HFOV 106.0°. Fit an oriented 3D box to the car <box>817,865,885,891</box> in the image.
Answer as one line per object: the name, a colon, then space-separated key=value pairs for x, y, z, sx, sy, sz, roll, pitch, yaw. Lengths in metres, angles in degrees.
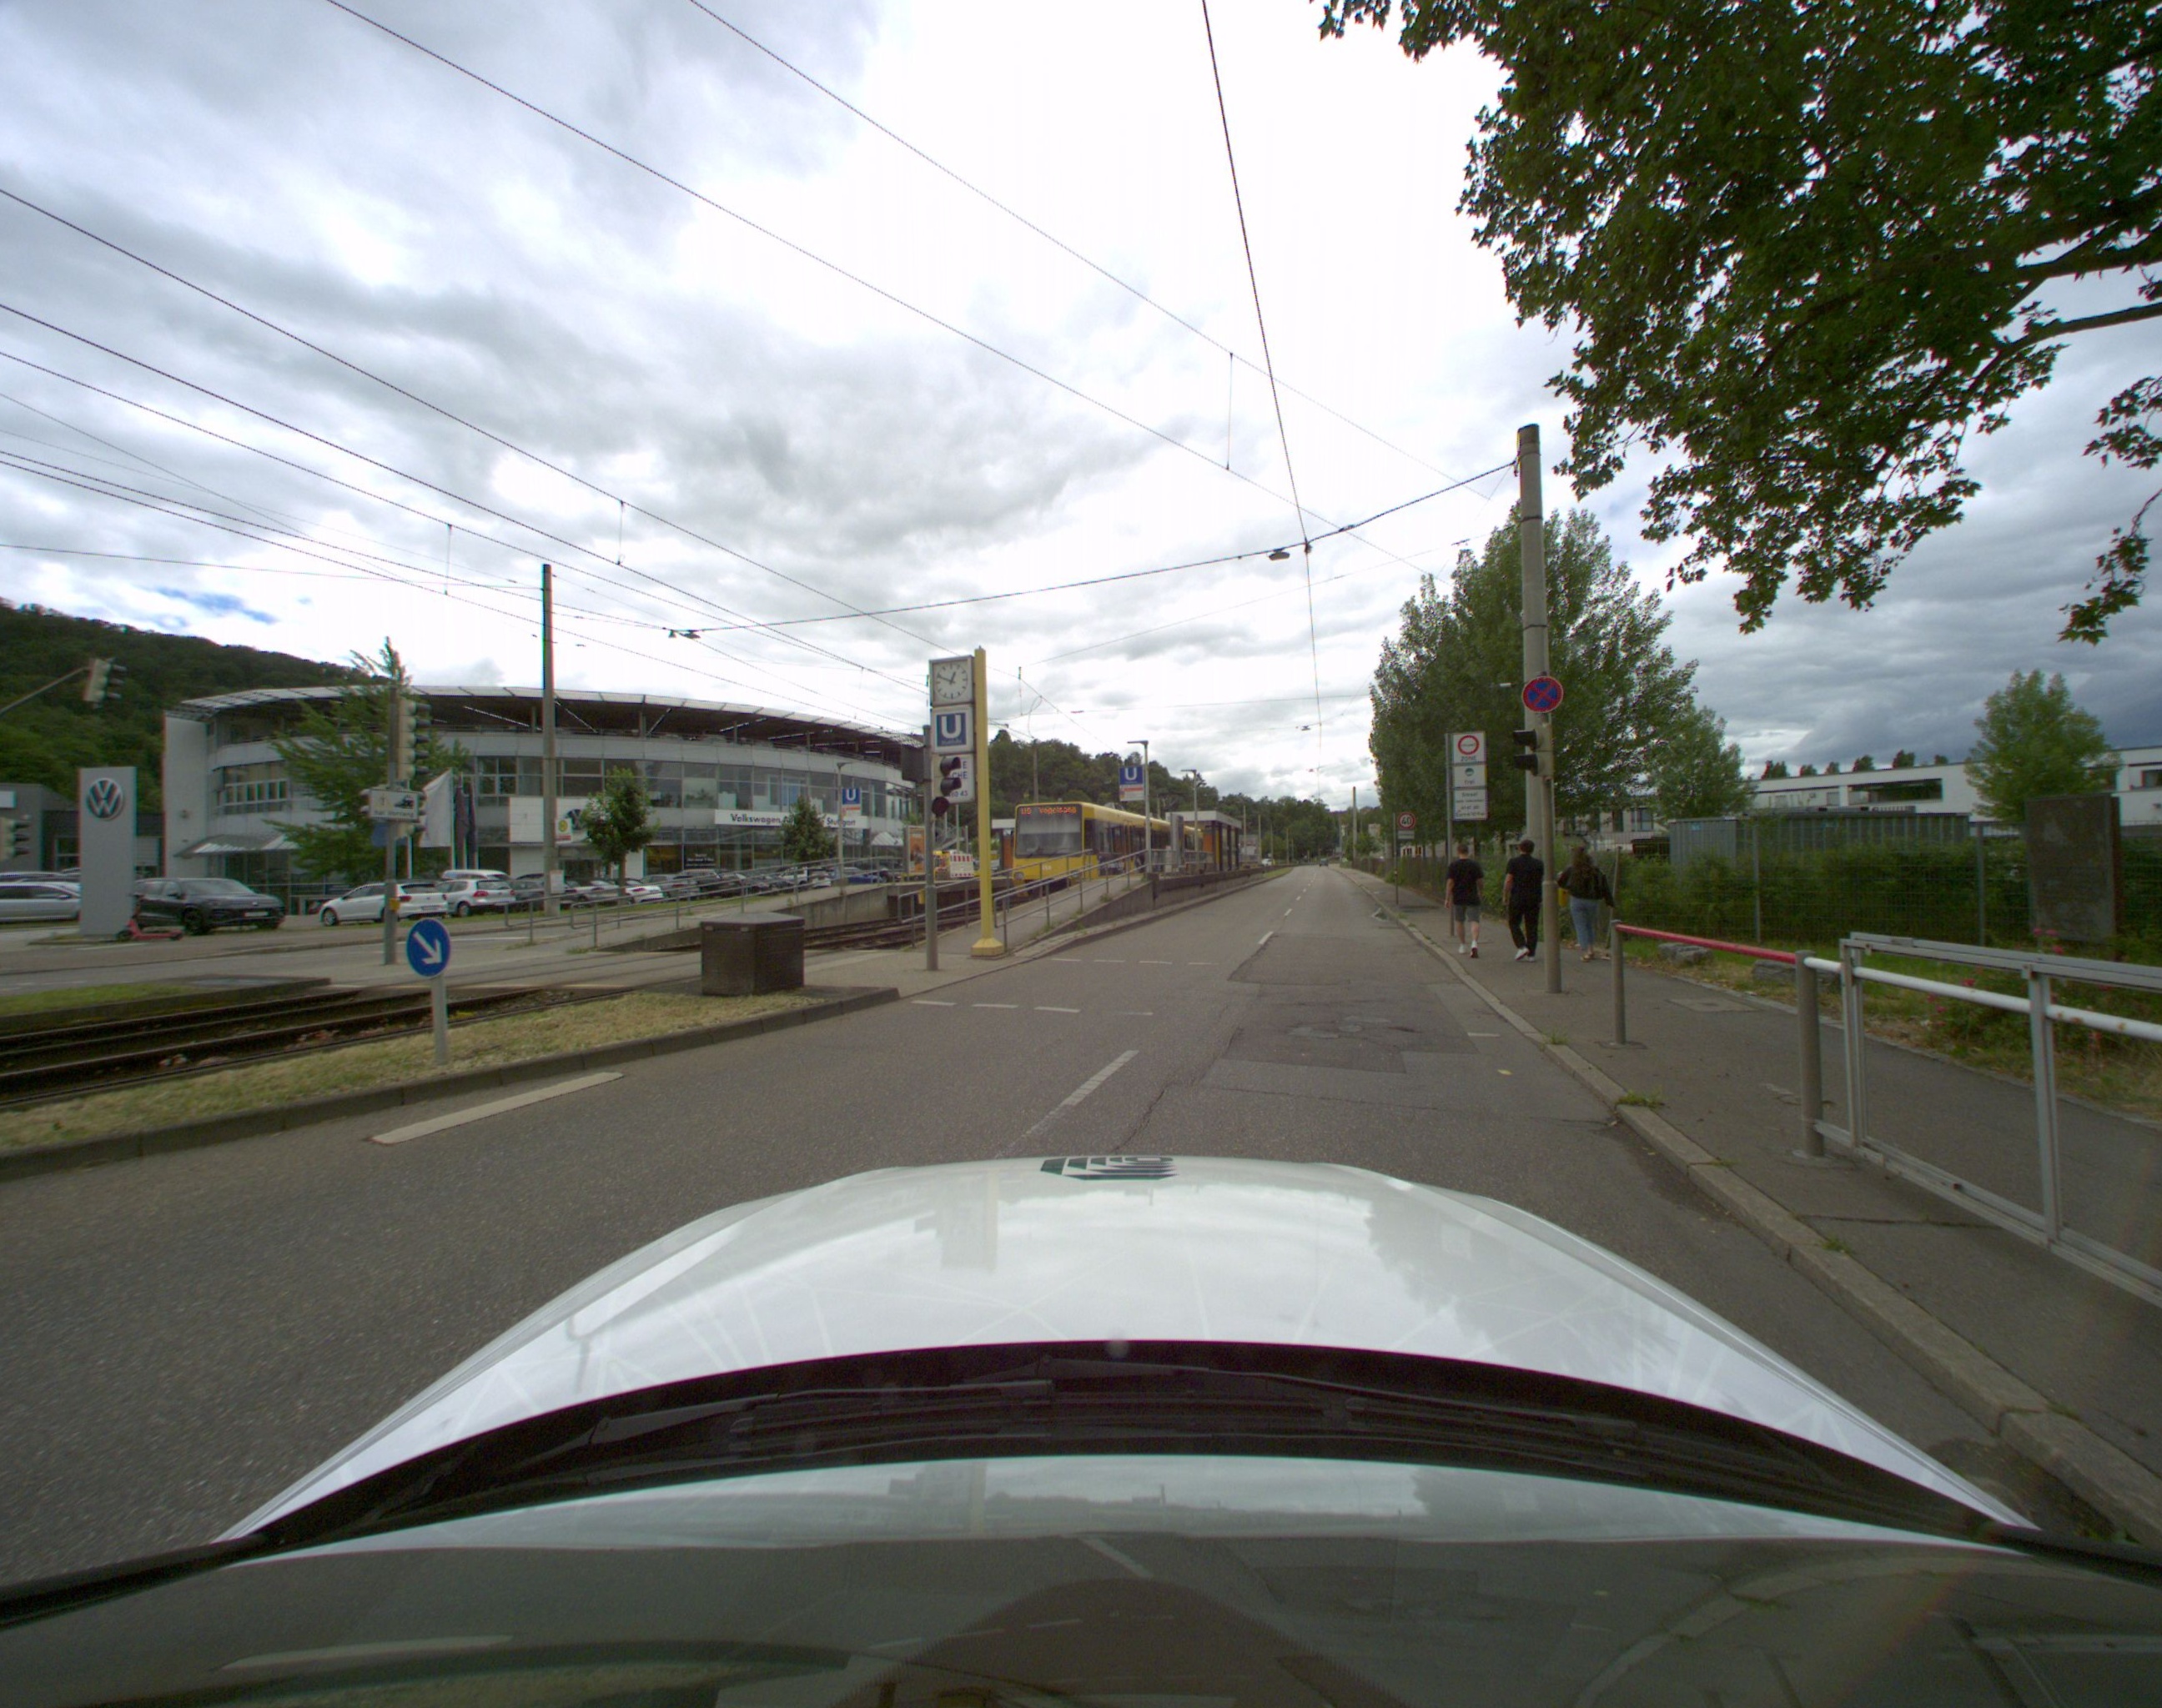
car: x=-15.230 y=1.630 z=53.989 sx=3.953 sy=1.555 sz=1.936 roll=-2 pitch=-5 yaw=21

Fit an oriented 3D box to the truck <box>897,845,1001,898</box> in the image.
truck: x=-8.305 y=1.139 z=52.646 sx=2.672 sy=3.078 sz=9.049 roll=-1 pitch=-2 yaw=19

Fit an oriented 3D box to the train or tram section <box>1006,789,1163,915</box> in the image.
train or tram section: x=0.654 y=-0.017 z=31.611 sx=2.719 sy=3.967 sz=11.964 roll=-1 pitch=-1 yaw=17

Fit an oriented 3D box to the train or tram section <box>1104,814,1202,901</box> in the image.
train or tram section: x=4.142 y=0.194 z=43.084 sx=2.719 sy=3.967 sz=11.964 roll=-1 pitch=-1 yaw=17

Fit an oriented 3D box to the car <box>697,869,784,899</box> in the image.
car: x=-18.544 y=1.638 z=44.448 sx=3.960 sy=1.554 sz=1.934 roll=-1 pitch=0 yaw=12

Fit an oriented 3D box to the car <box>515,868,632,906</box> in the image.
car: x=-22.027 y=1.455 z=35.413 sx=3.960 sy=1.555 sz=1.933 roll=-1 pitch=-5 yaw=12

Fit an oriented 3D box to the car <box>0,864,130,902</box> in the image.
car: x=-51.519 y=1.512 z=41.035 sx=1.974 sy=1.729 sz=4.537 roll=-4 pitch=-6 yaw=38

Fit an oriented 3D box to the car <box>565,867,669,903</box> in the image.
car: x=-21.501 y=1.466 z=37.791 sx=3.960 sy=1.555 sz=1.734 roll=-1 pitch=-5 yaw=12

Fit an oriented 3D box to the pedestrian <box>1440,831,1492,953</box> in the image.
pedestrian: x=6.057 y=0.607 z=12.854 sx=0.597 sy=1.868 sz=0.674 roll=-1 pitch=-5 yaw=18

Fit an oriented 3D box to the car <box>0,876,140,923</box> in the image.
car: x=-40.114 y=1.789 z=31.605 sx=1.974 sy=1.729 sz=4.537 roll=-4 pitch=-6 yaw=38

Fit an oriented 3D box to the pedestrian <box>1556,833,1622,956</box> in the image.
pedestrian: x=7.247 y=0.585 z=11.650 sx=0.597 sy=1.690 sz=0.674 roll=-1 pitch=-5 yaw=18

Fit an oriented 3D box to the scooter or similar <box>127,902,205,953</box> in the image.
scooter or similar: x=-24.016 y=1.927 z=21.386 sx=0.568 sy=1.288 sz=1.211 roll=-3 pitch=-6 yaw=35

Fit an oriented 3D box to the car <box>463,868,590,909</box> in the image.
car: x=-22.352 y=1.438 z=32.886 sx=3.960 sy=1.555 sz=1.933 roll=-1 pitch=-5 yaw=12

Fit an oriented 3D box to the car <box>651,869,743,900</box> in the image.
car: x=-19.918 y=1.577 z=42.305 sx=3.960 sy=1.554 sz=1.934 roll=-1 pitch=-1 yaw=12

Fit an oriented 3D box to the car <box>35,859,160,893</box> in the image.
car: x=-57.933 y=1.327 z=48.047 sx=1.974 sy=1.729 sz=4.537 roll=-4 pitch=-6 yaw=38

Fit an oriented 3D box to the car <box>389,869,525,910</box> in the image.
car: x=-23.377 y=1.360 z=30.579 sx=3.960 sy=1.477 sz=1.820 roll=-1 pitch=-5 yaw=12

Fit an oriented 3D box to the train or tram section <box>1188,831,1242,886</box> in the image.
train or tram section: x=11.017 y=0.379 z=66.087 sx=2.948 sy=4.065 sz=10.240 roll=-1 pitch=-1 yaw=17

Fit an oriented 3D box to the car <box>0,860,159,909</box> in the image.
car: x=-45.259 y=1.443 z=36.828 sx=1.974 sy=1.998 sz=4.537 roll=-4 pitch=-6 yaw=39

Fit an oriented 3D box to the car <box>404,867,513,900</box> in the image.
car: x=-31.396 y=1.500 z=41.145 sx=3.969 sy=1.555 sz=1.928 roll=0 pitch=-5 yaw=4

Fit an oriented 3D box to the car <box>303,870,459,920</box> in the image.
car: x=-24.264 y=1.462 z=28.318 sx=3.960 sy=1.640 sz=2.006 roll=-1 pitch=-5 yaw=12

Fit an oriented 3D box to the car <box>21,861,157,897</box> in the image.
car: x=-54.167 y=1.424 z=44.573 sx=1.974 sy=1.729 sz=4.537 roll=-4 pitch=-6 yaw=38

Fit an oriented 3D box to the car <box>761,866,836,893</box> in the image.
car: x=-17.181 y=1.537 z=49.543 sx=3.953 sy=1.554 sz=1.937 roll=-2 pitch=-1 yaw=21

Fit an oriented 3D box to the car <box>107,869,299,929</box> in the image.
car: x=-25.650 y=1.304 z=23.853 sx=3.960 sy=1.640 sz=2.006 roll=-1 pitch=-2 yaw=12

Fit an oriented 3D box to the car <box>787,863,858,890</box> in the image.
car: x=-16.567 y=1.472 z=52.281 sx=3.953 sy=1.555 sz=1.936 roll=-2 pitch=-5 yaw=21

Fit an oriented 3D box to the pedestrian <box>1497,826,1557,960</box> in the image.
pedestrian: x=6.441 y=0.556 z=11.803 sx=0.597 sy=1.868 sz=0.675 roll=-1 pitch=-2 yaw=18

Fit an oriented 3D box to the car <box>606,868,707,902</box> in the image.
car: x=-20.733 y=1.534 z=39.831 sx=3.960 sy=1.555 sz=1.933 roll=-1 pitch=-5 yaw=12
